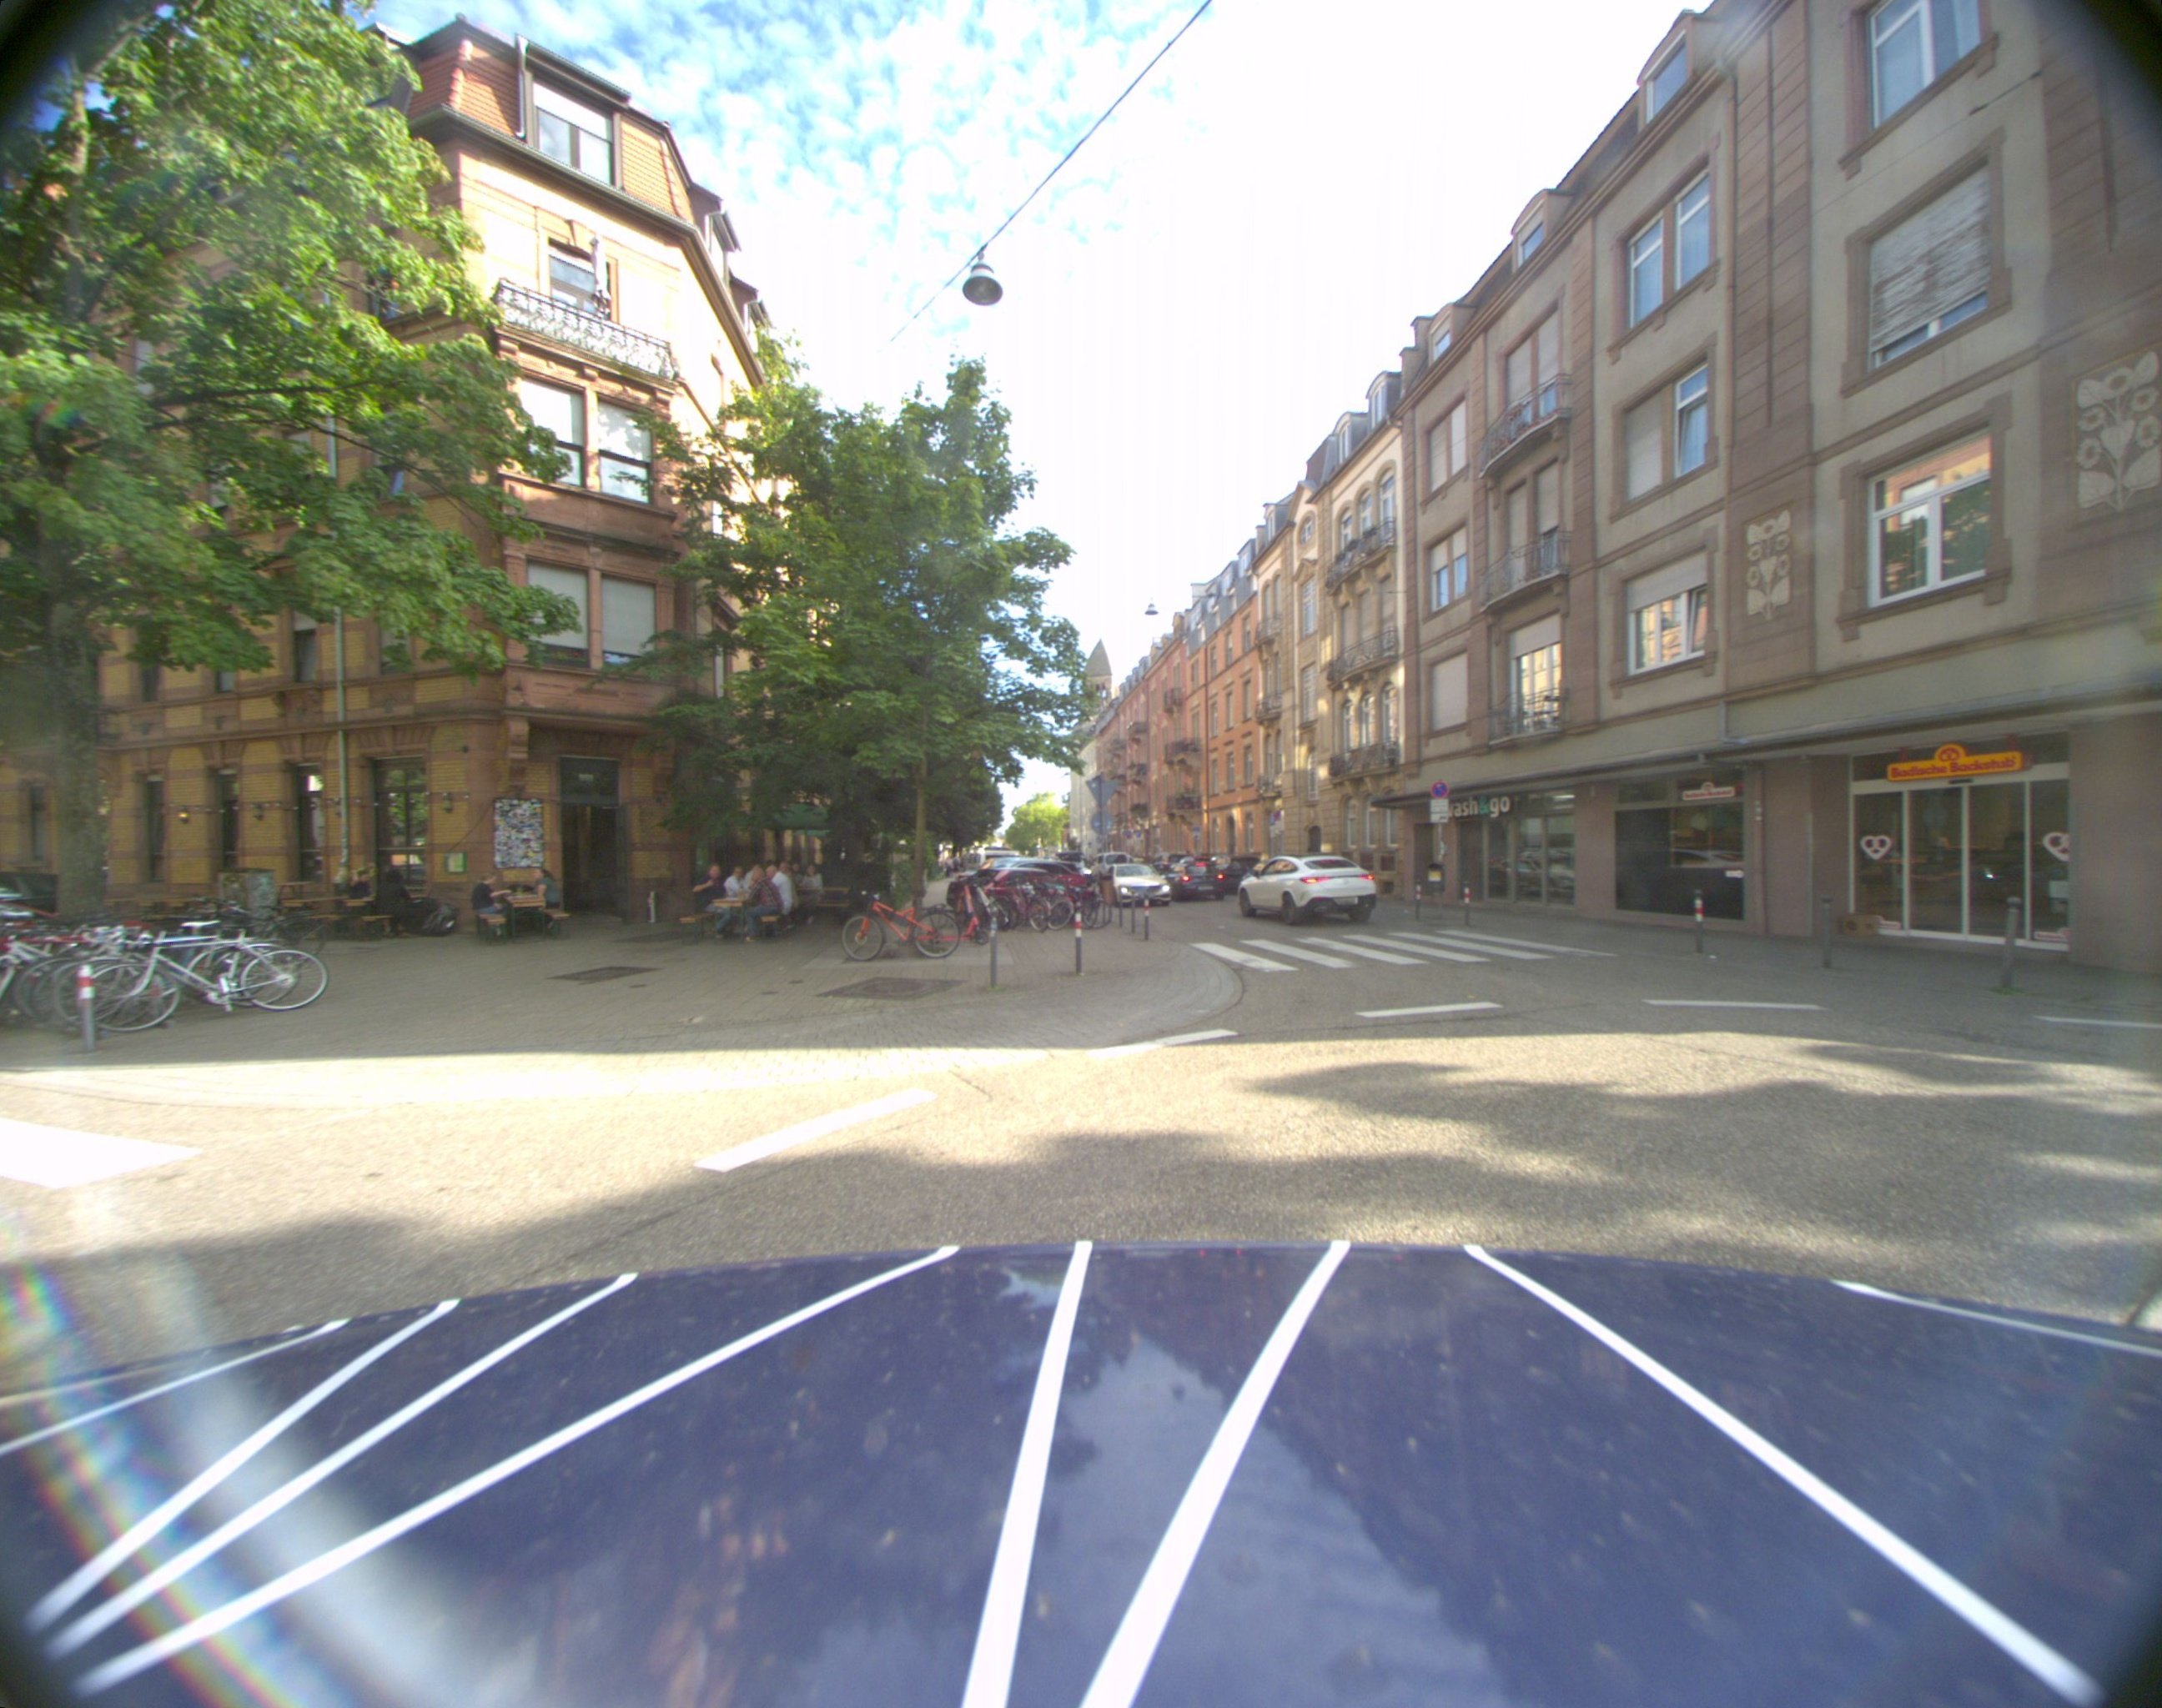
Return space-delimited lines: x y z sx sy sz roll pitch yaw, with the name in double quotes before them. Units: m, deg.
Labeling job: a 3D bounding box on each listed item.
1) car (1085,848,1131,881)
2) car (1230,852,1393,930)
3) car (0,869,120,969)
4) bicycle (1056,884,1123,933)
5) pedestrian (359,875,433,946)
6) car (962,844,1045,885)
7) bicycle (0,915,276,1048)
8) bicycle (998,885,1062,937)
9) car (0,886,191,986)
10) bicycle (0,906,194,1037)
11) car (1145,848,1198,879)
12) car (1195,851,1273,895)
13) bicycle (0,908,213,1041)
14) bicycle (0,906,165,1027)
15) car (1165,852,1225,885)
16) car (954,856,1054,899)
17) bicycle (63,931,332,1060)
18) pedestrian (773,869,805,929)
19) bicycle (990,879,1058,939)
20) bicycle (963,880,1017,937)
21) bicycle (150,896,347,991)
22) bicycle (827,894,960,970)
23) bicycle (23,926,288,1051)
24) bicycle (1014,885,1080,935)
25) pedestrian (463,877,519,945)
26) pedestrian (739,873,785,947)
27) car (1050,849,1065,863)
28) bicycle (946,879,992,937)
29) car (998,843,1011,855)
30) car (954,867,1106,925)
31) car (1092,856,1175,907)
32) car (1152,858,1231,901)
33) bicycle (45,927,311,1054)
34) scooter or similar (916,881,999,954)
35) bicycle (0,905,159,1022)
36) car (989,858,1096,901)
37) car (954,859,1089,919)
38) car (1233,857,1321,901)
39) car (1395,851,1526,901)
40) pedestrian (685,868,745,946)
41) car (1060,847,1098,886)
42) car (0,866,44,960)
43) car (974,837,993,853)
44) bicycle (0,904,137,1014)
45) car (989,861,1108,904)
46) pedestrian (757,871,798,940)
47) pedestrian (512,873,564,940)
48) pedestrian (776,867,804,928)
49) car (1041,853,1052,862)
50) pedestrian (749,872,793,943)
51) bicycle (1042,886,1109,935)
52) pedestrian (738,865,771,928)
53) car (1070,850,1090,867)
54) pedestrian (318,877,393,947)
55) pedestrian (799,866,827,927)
"car" 1.588 0.613 46.166 1.945 1.869 4.832 -2 0 -8
"car" 5.470 0.812 18.804 2.000 1.624 4.840 -1 0 -8
"car" -18.918 1.150 11.923 2.002 1.561 4.318 0 3 24
"bicycle" 0.169 1.238 17.629 0.473 0.979 1.860 1 0 -38
"pedestrian" -13.168 1.076 14.628 0.628 1.278 0.770 -1 3 16
"car" -4.840 0.627 47.847 4.747 2.409 1.995 -2 1 -39
"bicycle" -10.273 1.318 8.222 0.447 1.083 2.049 1 3 31
"bicycle" -1.131 1.215 16.576 0.419 0.979 1.833 1 0 -38
"car" -16.127 1.266 10.823 1.565 1.263 4.116 -2 2 16
"bicycle" -11.484 1.287 8.726 0.448 1.195 1.712 0 2 4
"car" 5.018 0.515 42.743 1.763 1.589 4.338 -2 0 -10
"car" 6.240 0.720 31.475 1.862 1.575 4.395 -2 1 -7
"bicycle" -10.884 1.283 8.322 0.447 1.195 1.715 1 3 31
"bicycle" -12.032 1.290 8.832 0.447 1.195 1.713 0 2 10
"car" 5.552 0.691 37.532 1.763 1.488 4.130 -2 0 -8
"car" -3.027 0.916 29.899 3.594 1.602 1.510 2 0 -30
"bicycle" -8.968 1.384 7.812 0.447 0.964 1.715 1 3 31
"pedestrian" -6.333 0.960 16.468 0.549 1.225 0.620 -1 2 -31
"bicycle" -1.227 1.135 16.138 0.476 1.136 1.833 1 0 -38
"bicycle" -1.987 1.135 16.355 0.476 1.094 1.671 1 0 -31
"bicycle" -12.096 1.253 11.128 0.599 1.108 1.802 1 2 22
"bicycle" -2.755 1.145 11.321 1.857 1.029 0.683 0 1 -8
"bicycle" -9.802 1.371 8.138 0.447 0.981 1.715 1 3 31
"bicycle" -0.784 1.229 17.054 0.473 0.979 1.860 1 0 -38
"pedestrian" -11.231 1.066 14.476 0.510 1.218 0.642 1 3 25
"pedestrian" -5.817 1.007 13.894 0.730 1.307 0.520 0 0 -19
"car" -3.326 0.277 106.950 1.727 1.921 4.009 -1 0 -6
"bicycle" -2.395 1.106 16.082 0.435 1.094 1.671 1 0 -27
"car" -12.771 -0.869 127.469 1.999 1.877 3.998 -2 0 -5
"car" -1.288 1.051 19.670 3.594 1.372 1.509 2 0 -32
"car" 1.753 0.900 27.061 1.945 1.588 4.832 -2 0 -8
"car" 4.080 0.903 28.695 1.770 1.373 4.448 -3 1 -7
"bicycle" -9.387 1.368 7.991 0.447 0.981 1.715 1 3 31
"scooter or similar" -2.138 1.075 13.148 1.290 1.203 0.557 0 -1 16
"bicycle" -12.441 1.294 9.110 0.447 1.195 1.713 0 2 10
"car" -1.395 0.934 27.774 3.594 1.456 1.510 2 0 -30
"car" -1.708 0.986 22.128 3.594 1.606 1.510 2 0 -30
"car" 6.871 0.833 27.045 1.724 1.360 3.827 -2 0 -7
"car" 13.975 0.789 28.060 4.002 1.612 1.997 -2 0 -16
"pedestrian" -6.754 0.955 14.019 0.715 1.371 0.671 0 2 28
"car" -0.136 0.645 41.776 1.793 2.051 3.998 -1 0 -4
"car" -21.221 1.151 12.972 1.857 1.711 3.713 -2 0 20
"car" -11.873 -1.073 91.978 1.851 1.724 3.996 -2 0 -12
"bicycle" -12.965 1.291 9.265 0.447 1.195 1.714 1 2 22
"car" -1.052 0.930 24.920 3.594 1.315 1.510 2 0 -30
"pedestrian" -6.002 1.000 15.054 0.730 1.307 0.607 0 0 -19
"pedestrian" -10.819 1.032 15.155 0.510 1.252 0.642 1 3 25
"pedestrian" -6.623 0.972 17.296 0.467 1.320 0.620 -1 2 -31
"car" -5.761 0.601 128.146 1.626 1.371 3.759 -1 0 -6
"pedestrian" -5.880 0.998 14.434 0.730 1.307 0.520 0 0 -19
"bicycle" -0.155 1.260 17.310 0.473 0.979 1.860 1 0 -38
"pedestrian" -7.008 0.900 16.317 0.549 1.293 0.620 -1 2 -31
"car" -0.153 0.433 81.997 1.685 1.775 4.017 -1 0 -6
"pedestrian" -14.058 1.109 14.738 0.628 1.278 0.770 -1 3 16
"pedestrian" -6.032 0.947 17.082 0.467 1.320 0.620 -1 2 -31
